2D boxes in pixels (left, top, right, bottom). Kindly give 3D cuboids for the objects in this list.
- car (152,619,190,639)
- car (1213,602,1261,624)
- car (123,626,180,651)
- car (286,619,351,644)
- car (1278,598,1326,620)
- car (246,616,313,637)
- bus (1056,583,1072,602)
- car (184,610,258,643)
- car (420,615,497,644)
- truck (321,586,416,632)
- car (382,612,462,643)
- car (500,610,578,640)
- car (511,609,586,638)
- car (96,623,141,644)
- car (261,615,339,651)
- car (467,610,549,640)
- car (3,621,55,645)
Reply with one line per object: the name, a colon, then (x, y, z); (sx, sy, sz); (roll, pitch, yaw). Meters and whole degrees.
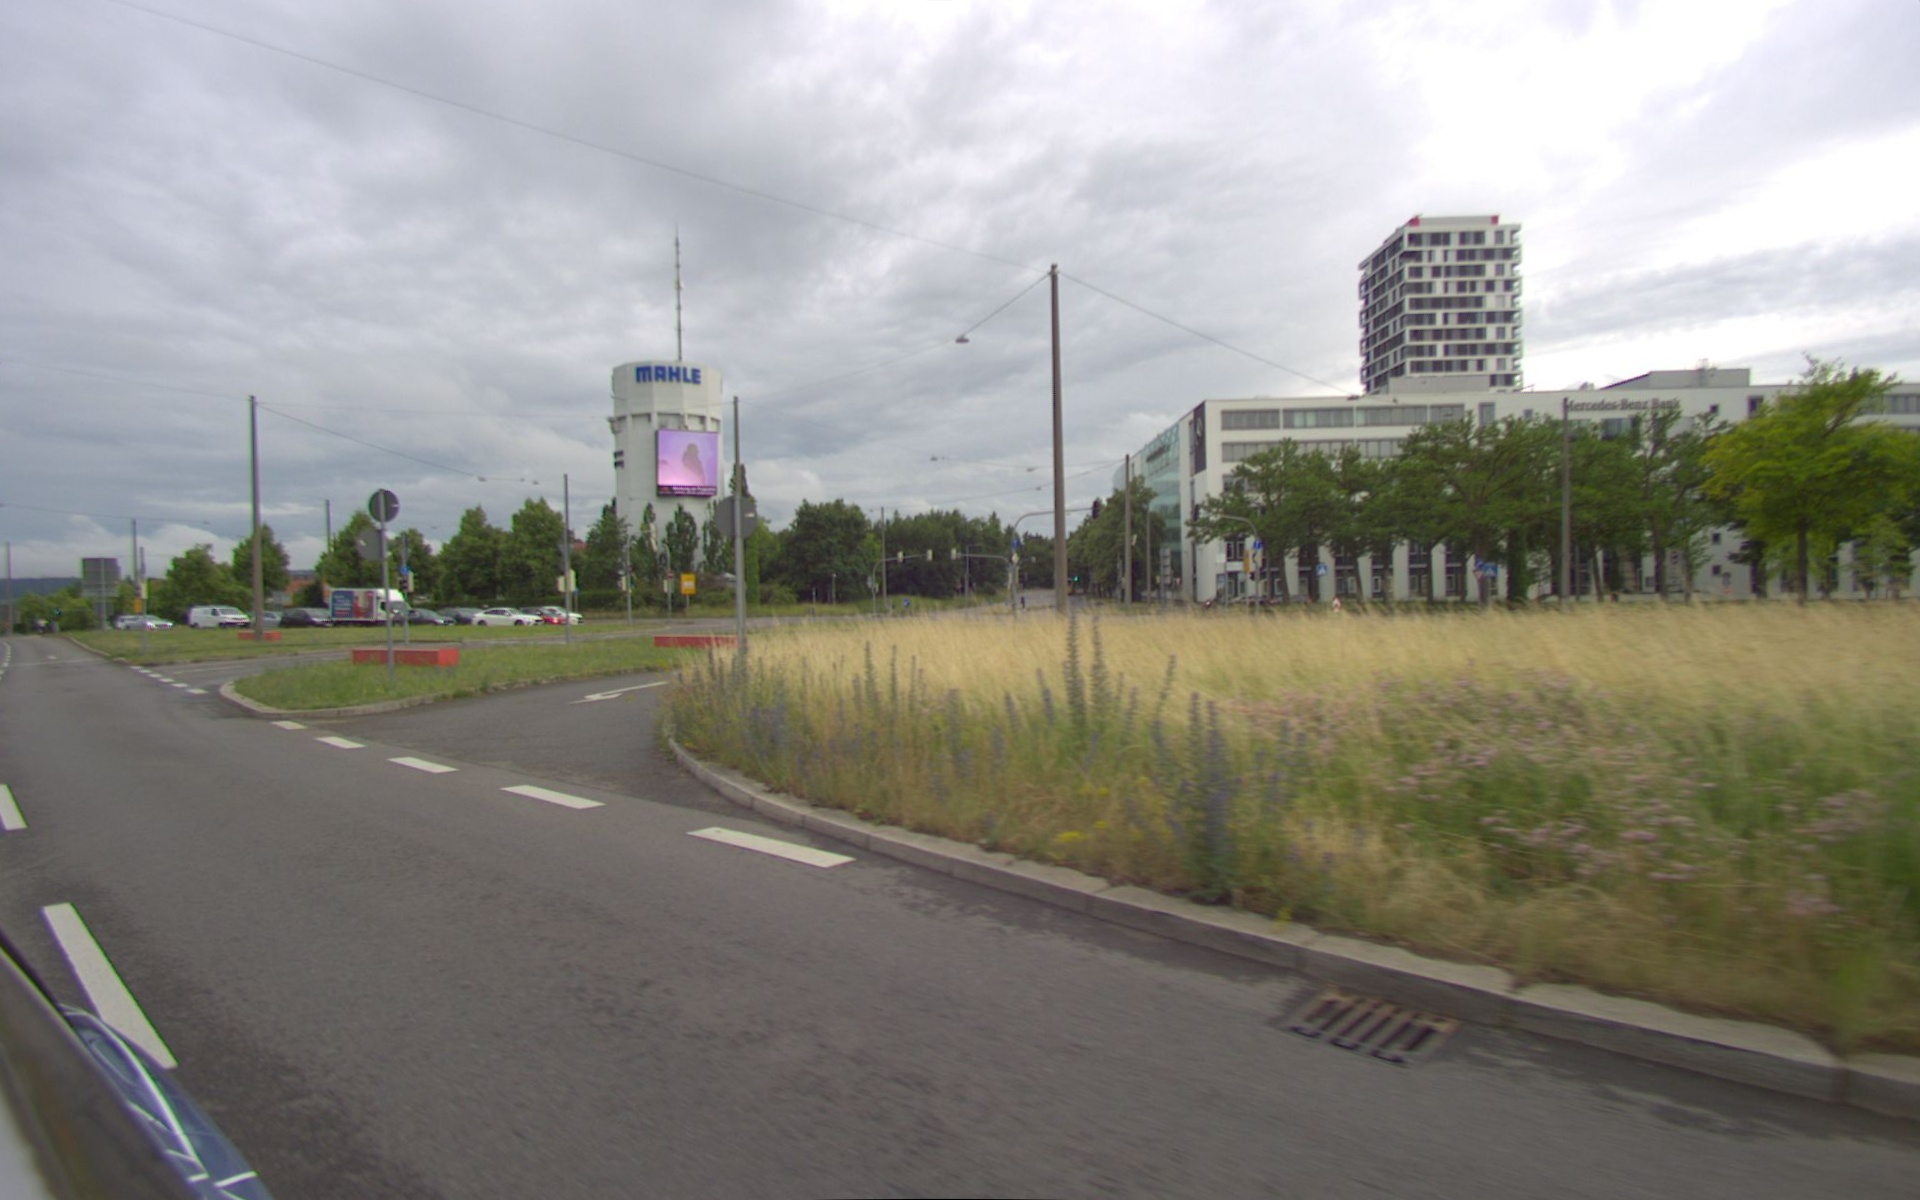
car: (-91.352, 3.368, 117.158); (3.982, 2.028, 1.981); (-2, 2, 29)
car: (24.593, 1.146, 89.770); (3.650, 1.688, 1.906); (-4, 2, -22)
car: (-66.476, 3.181, 83.183); (5.153, 1.814, 1.979); (-2, 2, 32)
car: (-49.506, 2.430, 78.055); (4.492, 1.695, 1.985); (-3, 2, 23)
car: (31.269, 0.812, 92.475); (3.651, 1.688, 1.905); (-4, 2, -15)
car: (-50.673, 1.973, 75.384); (4.502, 1.320, 1.985); (-3, 2, 23)
bus: (20.463, -1.496, 198.553); (2.826, 3.351, 8.871); (-3, 2, 7)
car: (-57.313, 2.054, 78.455); (5.280, 2.197, 2.354); (-2, 2, 26)
car: (-34.760, 2.021, 70.196); (4.476, 1.695, 1.992); (-3, 2, 14)
truck: (-42.264, 0.643, 72.300); (5.975, 2.855, 2.121); (-3, 2, 15)
car: (-35.164, 1.775, 66.199); (4.481, 1.695, 1.990); (-3, 2, 17)
car: (-28.805, 1.677, 69.339); (4.466, 1.695, 1.997); (-3, 2, 7)
car: (-29.189, 1.671, 71.771); (4.467, 1.695, 1.996); (-3, 2, 8)
car: (-81.946, 3.274, 98.561); (3.984, 1.796, 1.980); (-2, 2, 30)
car: (-45.093, 2.259, 69.131); (5.142, 2.197, 1.983); (-2, 2, 26)
car: (-29.281, 1.596, 65.560); (4.471, 1.695, 1.994); (-2, 1, 10)
car: (-81.425, 2.900, 88.535); (5.153, 1.814, 1.979); (-2, 2, 32)
